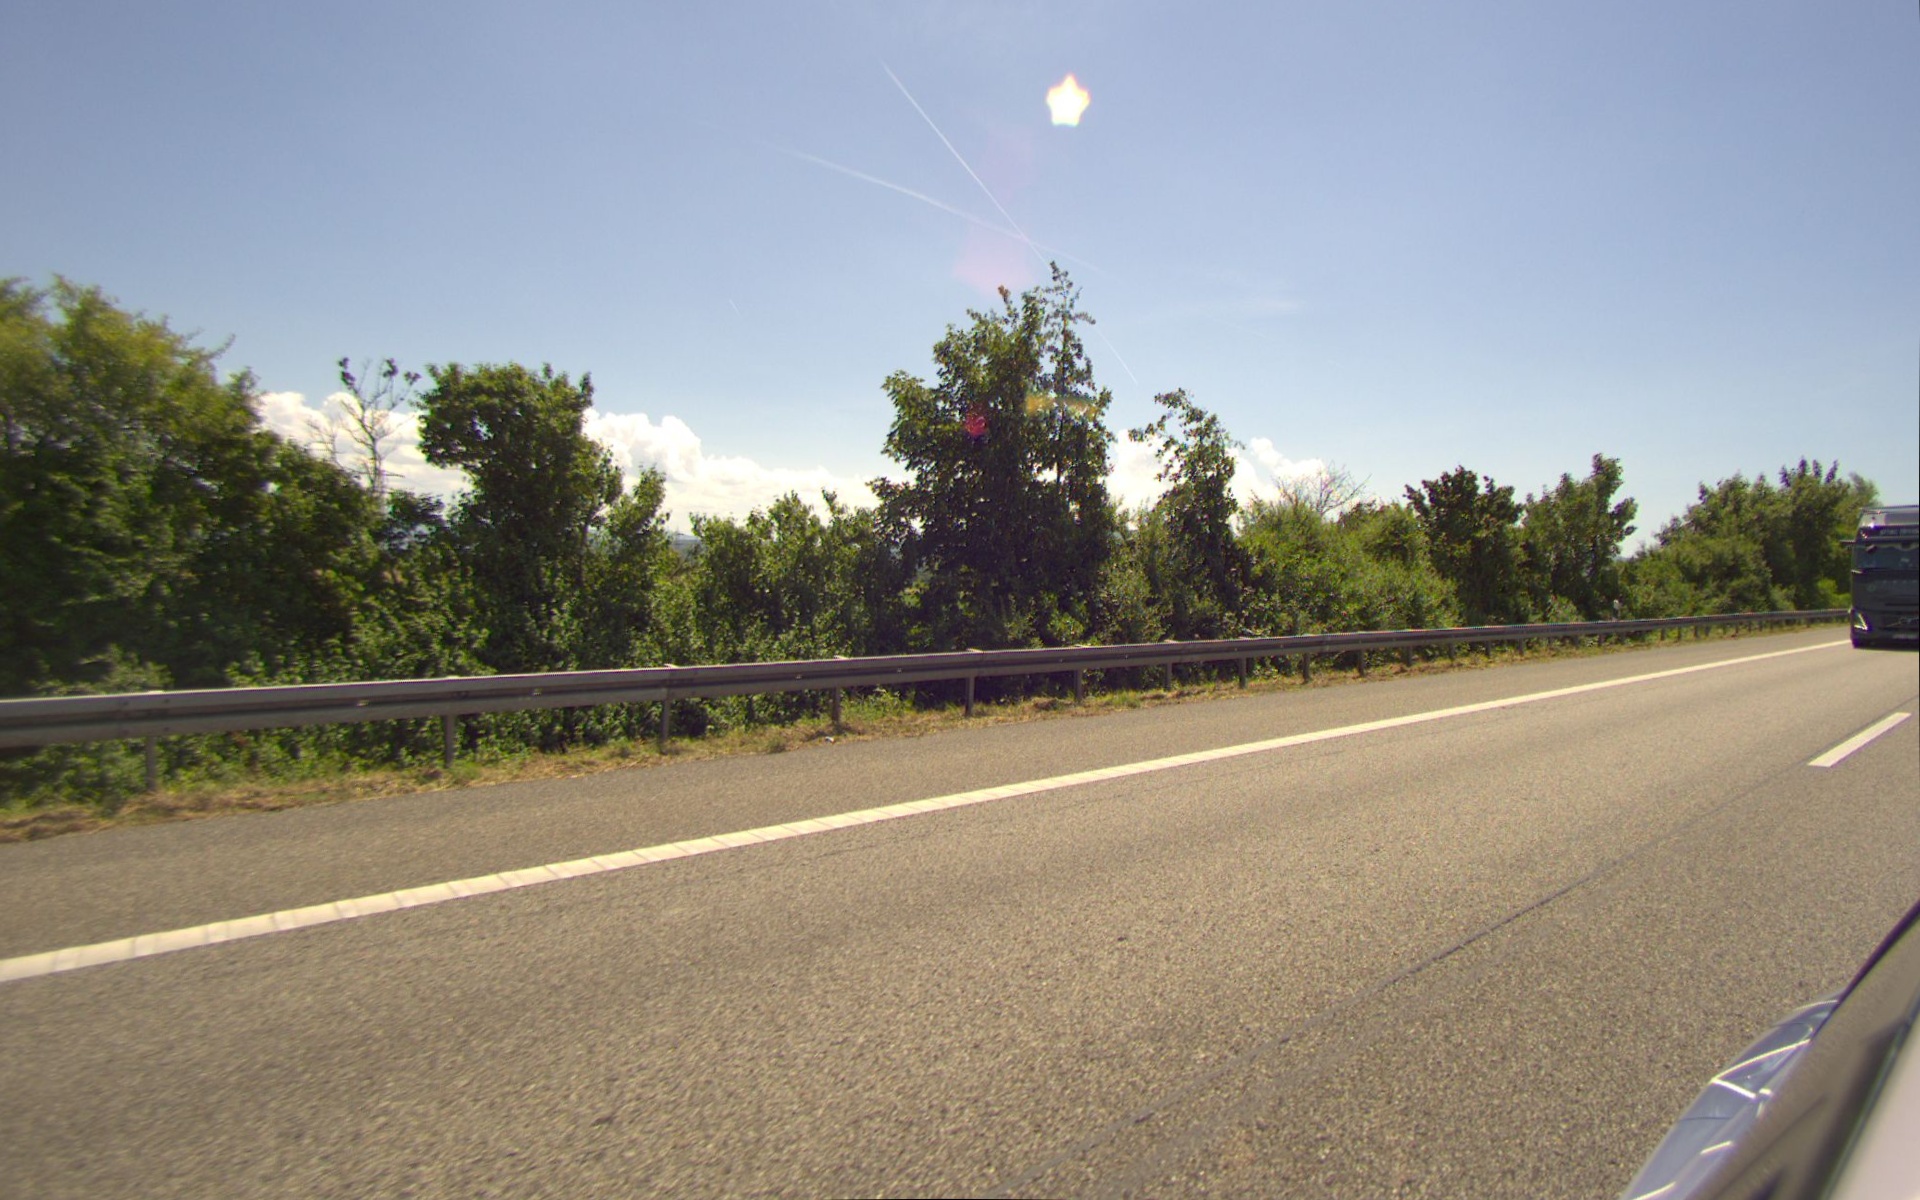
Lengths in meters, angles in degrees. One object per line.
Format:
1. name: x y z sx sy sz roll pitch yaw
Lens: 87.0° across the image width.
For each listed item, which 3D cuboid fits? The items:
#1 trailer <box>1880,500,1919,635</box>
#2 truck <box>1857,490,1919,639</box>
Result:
1. trailer: 33.643 -1.013 34.021 13.303 4.004 2.557 -1 0 -41
2. truck: 28.121 -0.970 29.221 6.400 4.004 2.557 0 0 -41
